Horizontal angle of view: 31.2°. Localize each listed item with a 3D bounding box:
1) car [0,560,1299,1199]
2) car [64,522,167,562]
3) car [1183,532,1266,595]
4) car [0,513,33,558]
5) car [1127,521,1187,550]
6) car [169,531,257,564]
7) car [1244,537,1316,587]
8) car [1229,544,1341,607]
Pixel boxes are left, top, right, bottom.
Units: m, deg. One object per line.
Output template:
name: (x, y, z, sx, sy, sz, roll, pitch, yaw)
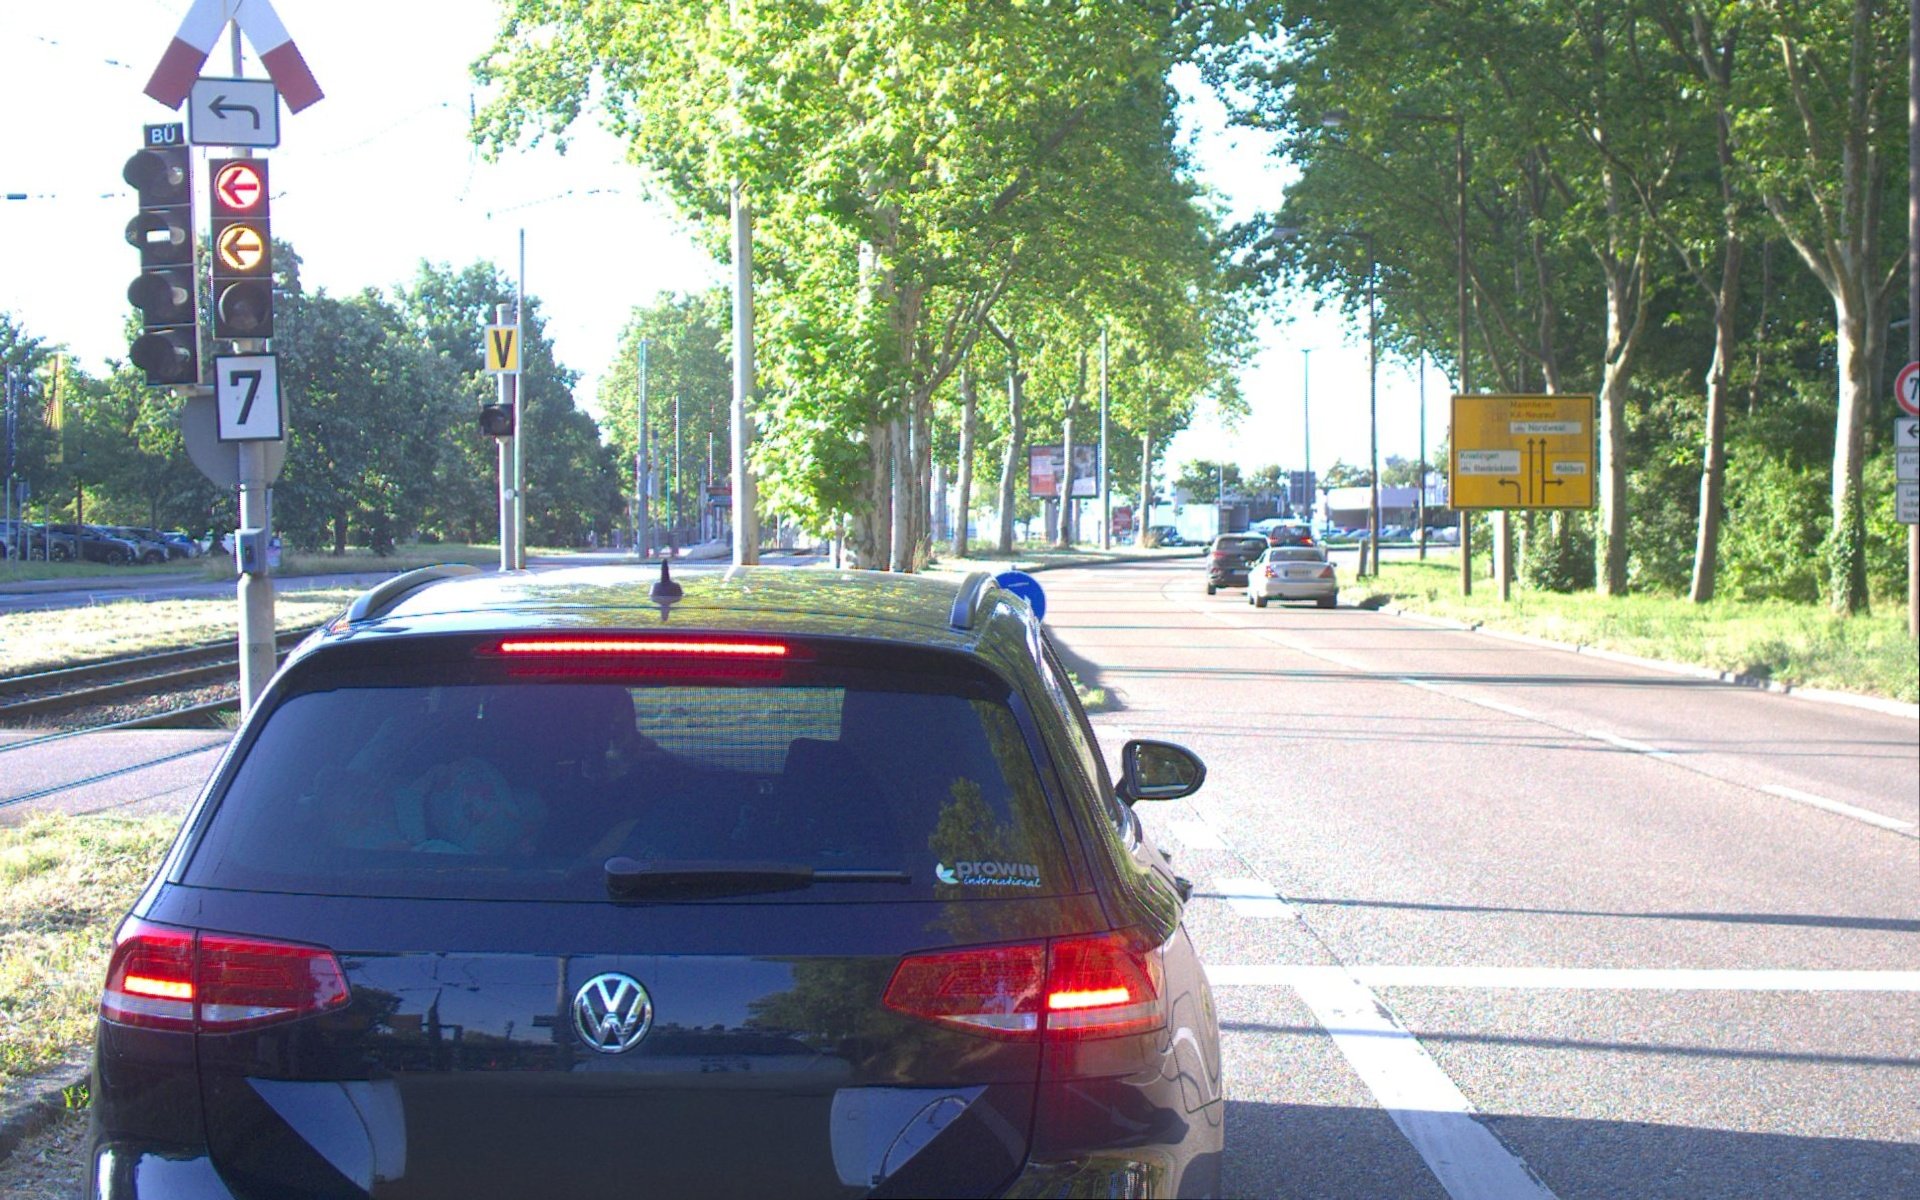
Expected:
car: (-0.483, 0.677, 6.413, 1.795, 1.459, 3.583, 1, 1, -1)
car: (-35.821, -2.464, 145.910, 3.986, 1.615, 1.744, 1, 1, -5)
car: (6.694, -0.950, 87.367, 1.707, 1.555, 4.166, 0, 1, -1)
car: (-35.914, -2.371, 125.004, 3.986, 1.615, 1.744, 1, 1, -5)
car: (10.177, -3.319, 177.534, 1.996, 1.415, 3.996, 1, 1, 21)
car: (-36.504, -2.555, 167.986, 3.986, 1.550, 1.744, 1, 1, -4)
car: (11.326, -1.346, 121.601, 1.873, 1.629, 4.367, 4, 1, 13)
car: (6.956, -0.552, 74.004, 1.608, 1.290, 3.984, 1, 1, -6)
